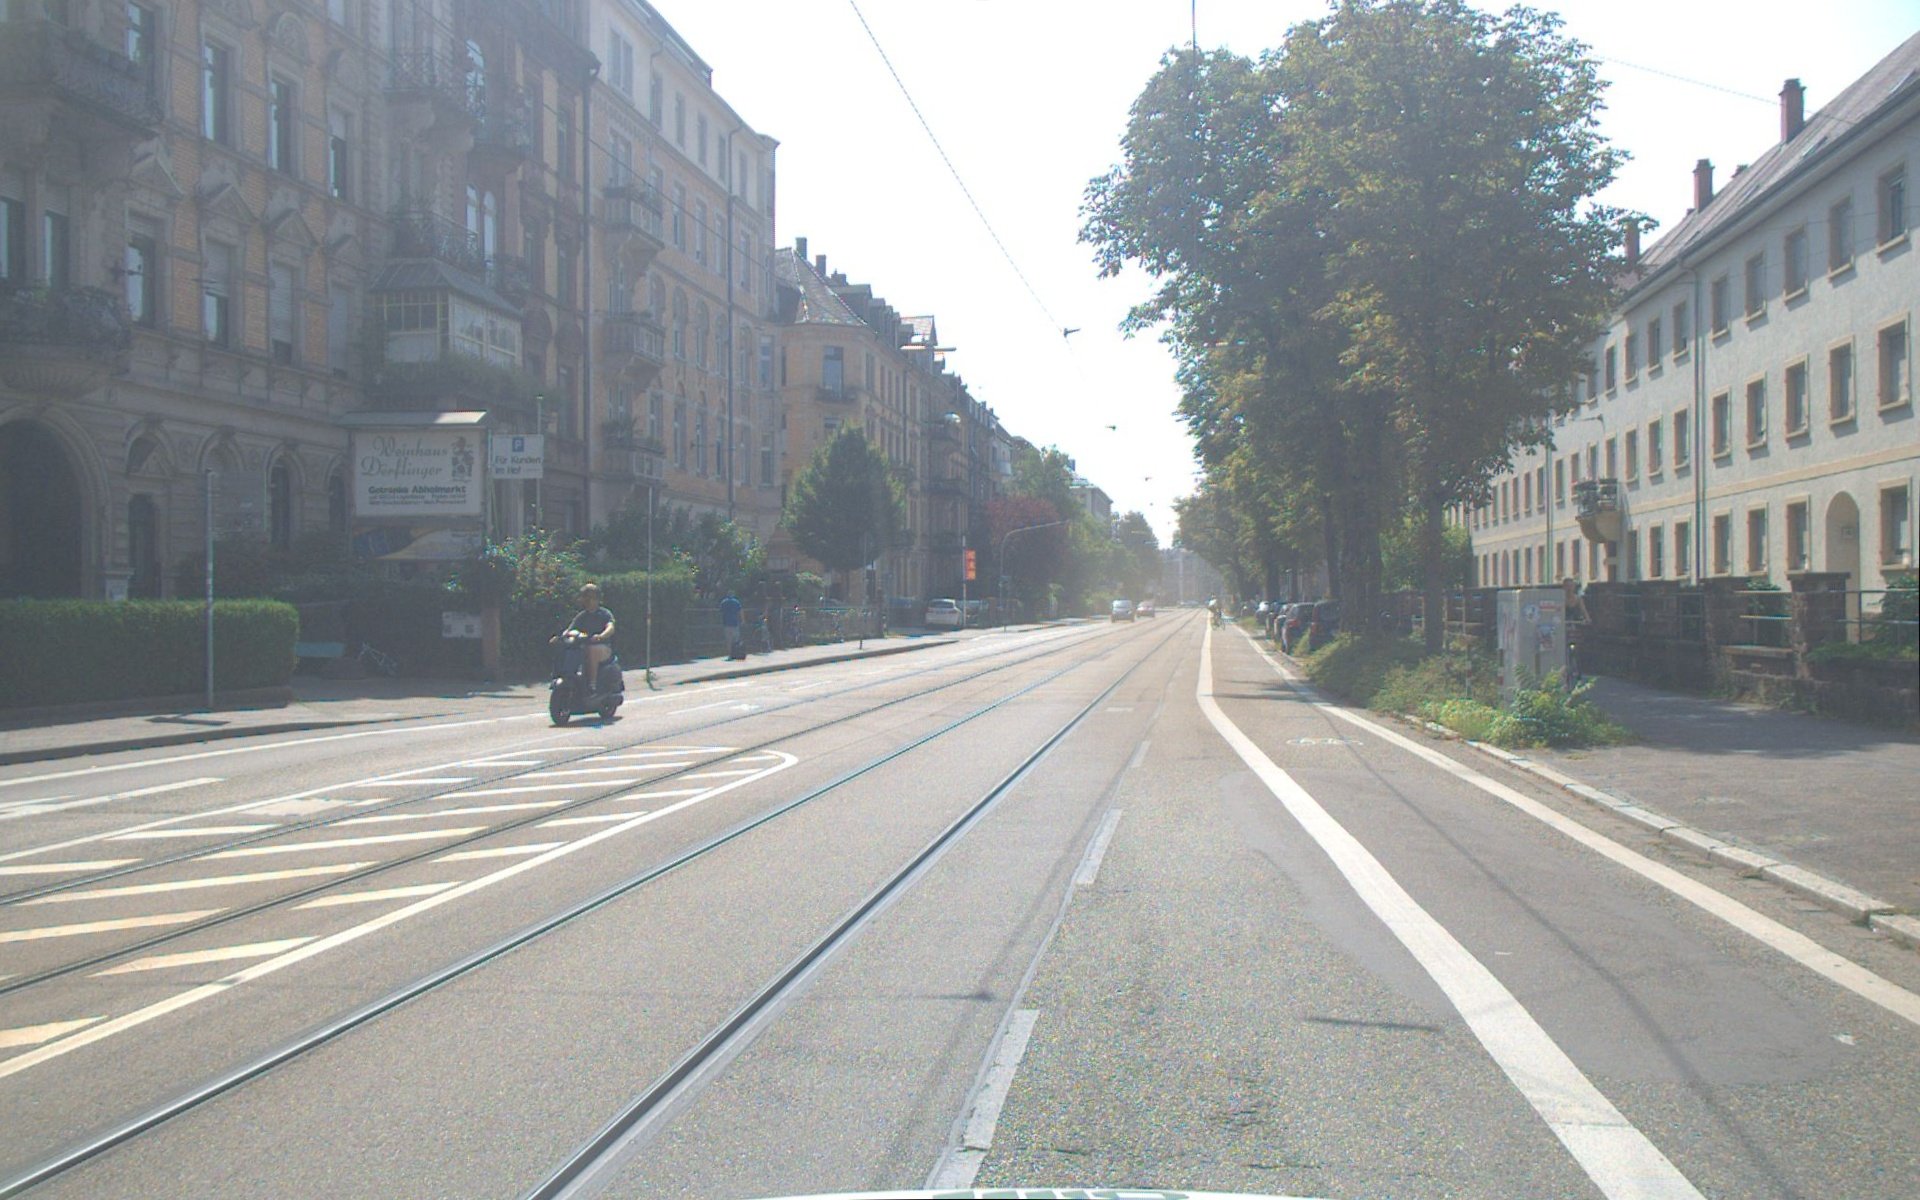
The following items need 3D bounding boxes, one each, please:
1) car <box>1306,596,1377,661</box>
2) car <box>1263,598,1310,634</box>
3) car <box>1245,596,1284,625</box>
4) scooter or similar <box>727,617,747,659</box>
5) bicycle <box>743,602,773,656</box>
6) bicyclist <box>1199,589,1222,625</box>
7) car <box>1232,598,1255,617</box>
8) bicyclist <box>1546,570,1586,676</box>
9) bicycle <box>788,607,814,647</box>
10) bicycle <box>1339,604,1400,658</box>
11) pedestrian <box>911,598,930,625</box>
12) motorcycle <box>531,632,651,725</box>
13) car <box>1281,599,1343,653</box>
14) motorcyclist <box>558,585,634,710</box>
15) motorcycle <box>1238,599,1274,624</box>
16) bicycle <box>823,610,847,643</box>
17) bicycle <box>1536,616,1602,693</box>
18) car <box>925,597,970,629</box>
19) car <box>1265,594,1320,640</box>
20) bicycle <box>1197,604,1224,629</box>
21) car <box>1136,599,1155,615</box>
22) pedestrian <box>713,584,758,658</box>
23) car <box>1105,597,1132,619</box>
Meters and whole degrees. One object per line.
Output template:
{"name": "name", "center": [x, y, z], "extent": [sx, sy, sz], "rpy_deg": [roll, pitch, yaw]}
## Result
{"name": "car", "center": [9.705, 0.695, 41.914], "extent": [1.582, 1.557, 3.501], "rpy_deg": [-2, 0, 15]}
{"name": "car", "center": [13.933, 0.666, 70.834], "extent": [1.718, 1.503, 4.390], "rpy_deg": [-1, 0, 8]}
{"name": "car", "center": [16.253, 0.542, 88.464], "extent": [1.852, 1.503, 4.844], "rpy_deg": [-1, 0, 8]}
{"name": "scooter or similar", "center": [-5.426, 0.923, 40.208], "extent": [0.392, 0.999, 0.584], "rpy_deg": [1, 0, 1]}
{"name": "bicycle", "center": [-5.489, 0.783, 44.995], "extent": [0.381, 1.430, 1.583], "rpy_deg": [0, 0, 10]}
{"name": "bicyclist", "center": [13.163, 0.349, 86.793], "extent": [1.101, 1.869, 0.956], "rpy_deg": [-1, -1, 14]}
{"name": "car", "center": [24.409, 0.655, 142.340], "extent": [1.801, 1.559, 4.783], "rpy_deg": [-2, 0, 8]}
{"name": "bicyclist", "center": [8.869, 0.337, 24.231], "extent": [0.428, 1.538, 0.472], "rpy_deg": [-1, 0, 5]}
{"name": "bicycle", "center": [-4.747, 0.809, 49.533], "extent": [0.381, 1.168, 1.583], "rpy_deg": [0, 0, 10]}
{"name": "bicycle", "center": [8.909, 0.666, 35.977], "extent": [1.371, 1.128, 0.386], "rpy_deg": [-1, 0, -27]}
{"name": "pedestrian", "center": [-2.283, 0.647, 95.130], "extent": [0.871, 1.537, 0.864], "rpy_deg": [0, 0, -22]}
{"name": "motorcycle", "center": [-4.565, 0.954, 20.619], "extent": [0.676, 1.049, 2.159], "rpy_deg": [0, 0, 10]}
{"name": "car", "center": [10.539, 0.756, 49.723], "extent": [1.582, 1.503, 4.042], "rpy_deg": [-2, 0, 9]}
{"name": "motorcyclist", "center": [-4.550, 0.586, 20.714], "extent": [0.674, 1.538, 0.773], "rpy_deg": [0, 0, 10]}
{"name": "motorcycle", "center": [20.000, 0.780, 111.743], "extent": [0.959, 1.567, 2.312], "rpy_deg": [0, -3, -39]}
{"name": "bicycle", "center": [-4.168, 0.880, 55.265], "extent": [0.381, 1.056, 1.835], "rpy_deg": [0, 0, 10]}
{"name": "bicycle", "center": [8.862, 0.772, 24.118], "extent": [0.431, 1.065, 1.830], "rpy_deg": [-1, 0, 5]}
{"name": "car", "center": [-0.619, 0.691, 88.113], "extent": [1.951, 1.622, 4.362], "rpy_deg": [-1, 0, 5]}
{"name": "car", "center": [12.136, 0.619, 60.553], "extent": [1.718, 1.503, 4.461], "rpy_deg": [-4, -1, 9]}
{"name": "bicycle", "center": [13.170, 0.841, 86.793], "extent": [1.123, 1.291, 2.714], "rpy_deg": [-1, 0, 14]}
{"name": "car", "center": [17.824, 0.679, 158.684], "extent": [1.695, 1.516, 4.003], "rpy_deg": [-1, 0, 8]}
{"name": "pedestrian", "center": [-5.538, 0.517, 40.805], "extent": [0.864, 1.786, 0.871], "rpy_deg": [0, 0, 9]}
{"name": "car", "center": [11.827, 0.557, 123.062], "extent": [1.788, 1.567, 4.003], "rpy_deg": [-1, 0, 8]}
